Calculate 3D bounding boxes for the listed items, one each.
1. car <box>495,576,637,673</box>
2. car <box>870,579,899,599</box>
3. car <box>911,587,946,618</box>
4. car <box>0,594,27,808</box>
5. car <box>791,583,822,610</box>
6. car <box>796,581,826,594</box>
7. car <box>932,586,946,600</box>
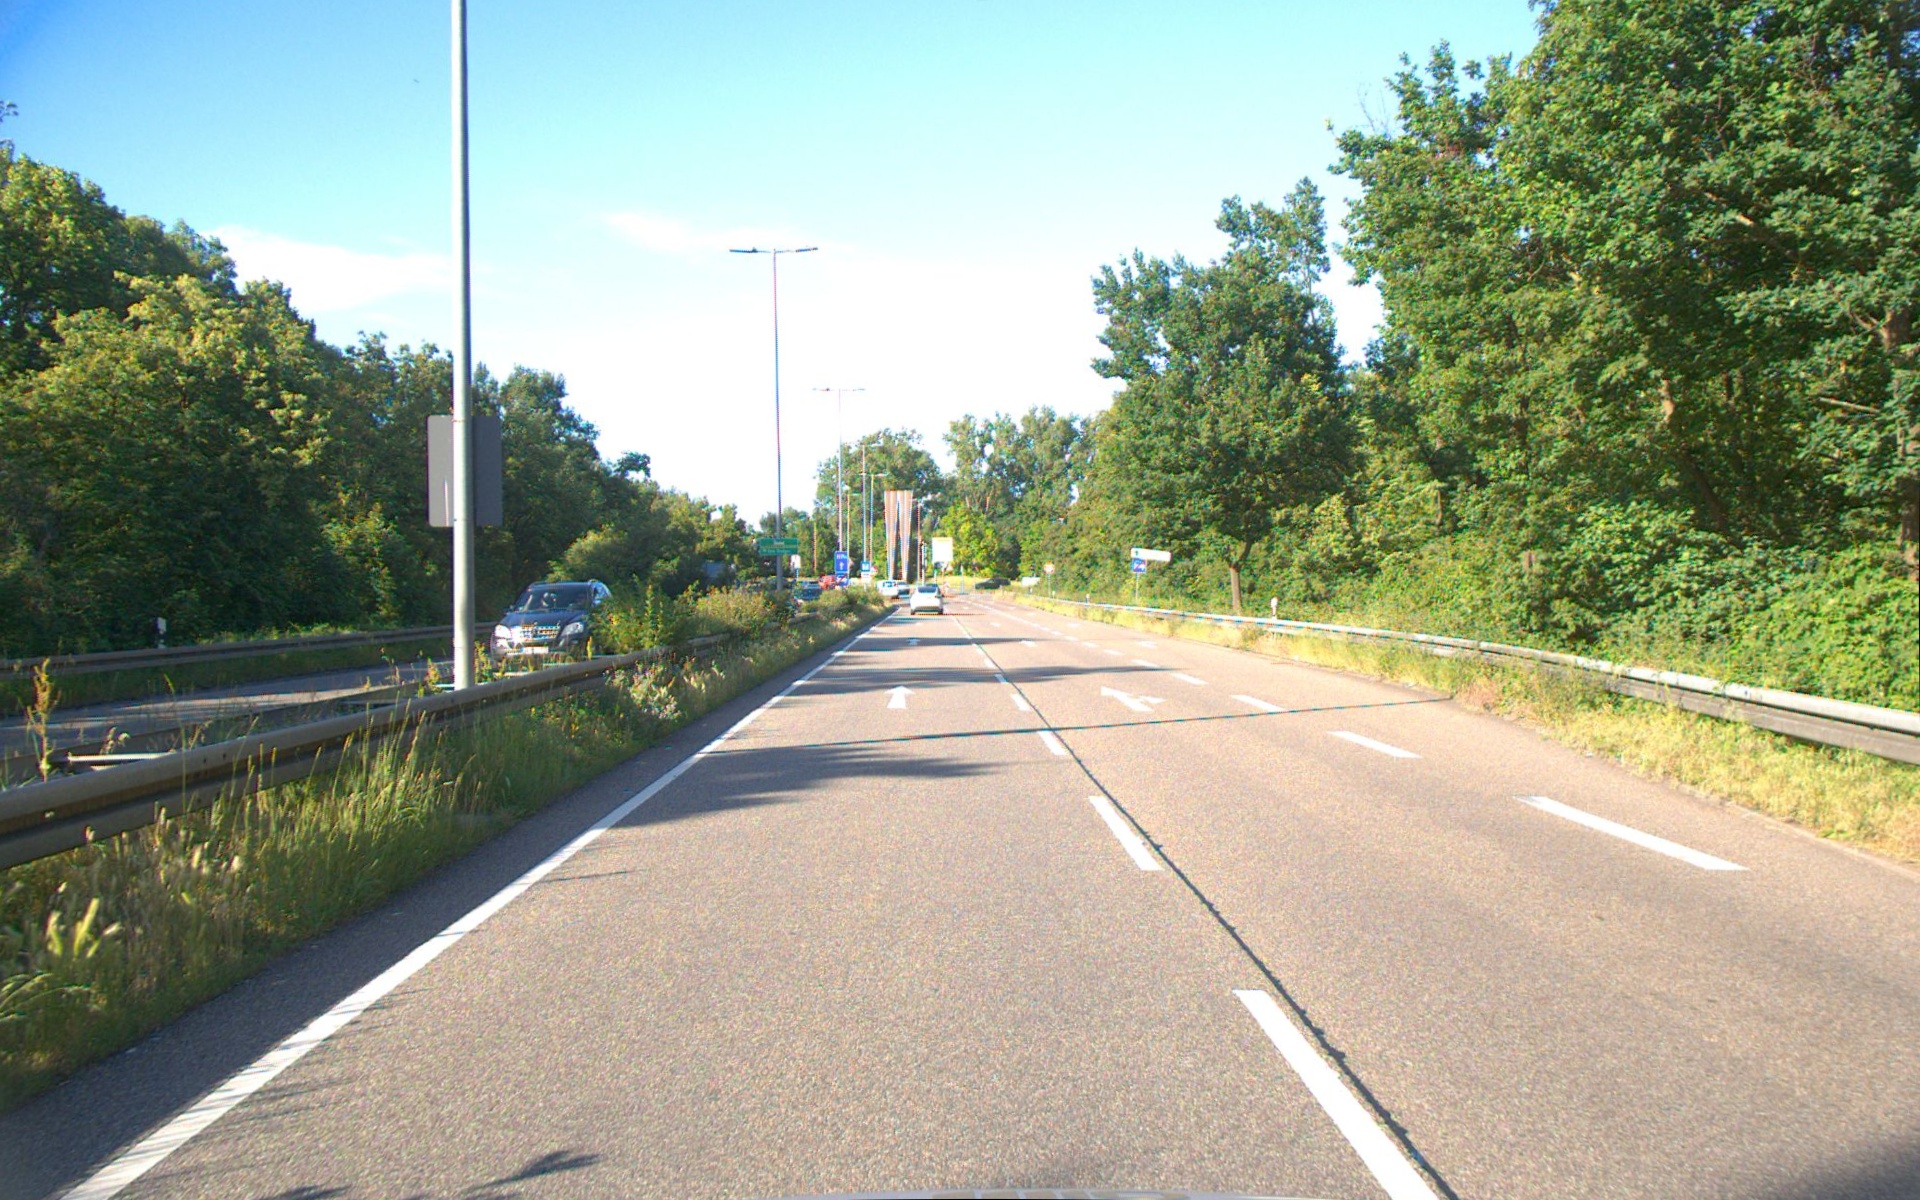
[{"bbox_3d":[-7.865,0.434,33.415,1.804,1.788,4.711,-1,1,-1],"label":"car"},{"bbox_3d":[-7.537,-1.069,164.872,1.961,1.912,4.230,-1,1,-16],"label":"car"},{"bbox_3d":[-1.862,0.154,96.690,1.953,1.668,4.127,-1,1,-2],"label":"car"},{"bbox_3d":[-7.818,0.772,10.087,1.585,1.557,4.609,-1,1,0],"label":"car"},{"bbox_3d":[-10.309,-0.242,111.648,1.749,1.740,4.546,-1,0,-1],"label":"car"},{"bbox_3d":[-17.699,-1.442,196.650,2.239,1.534,3.966,-1,1,-27],"label":"car"},{"bbox_3d":[-2.062,-0.683,162.805,1.360,1.303,2.986,2,-1,-1],"label":"car"}]
